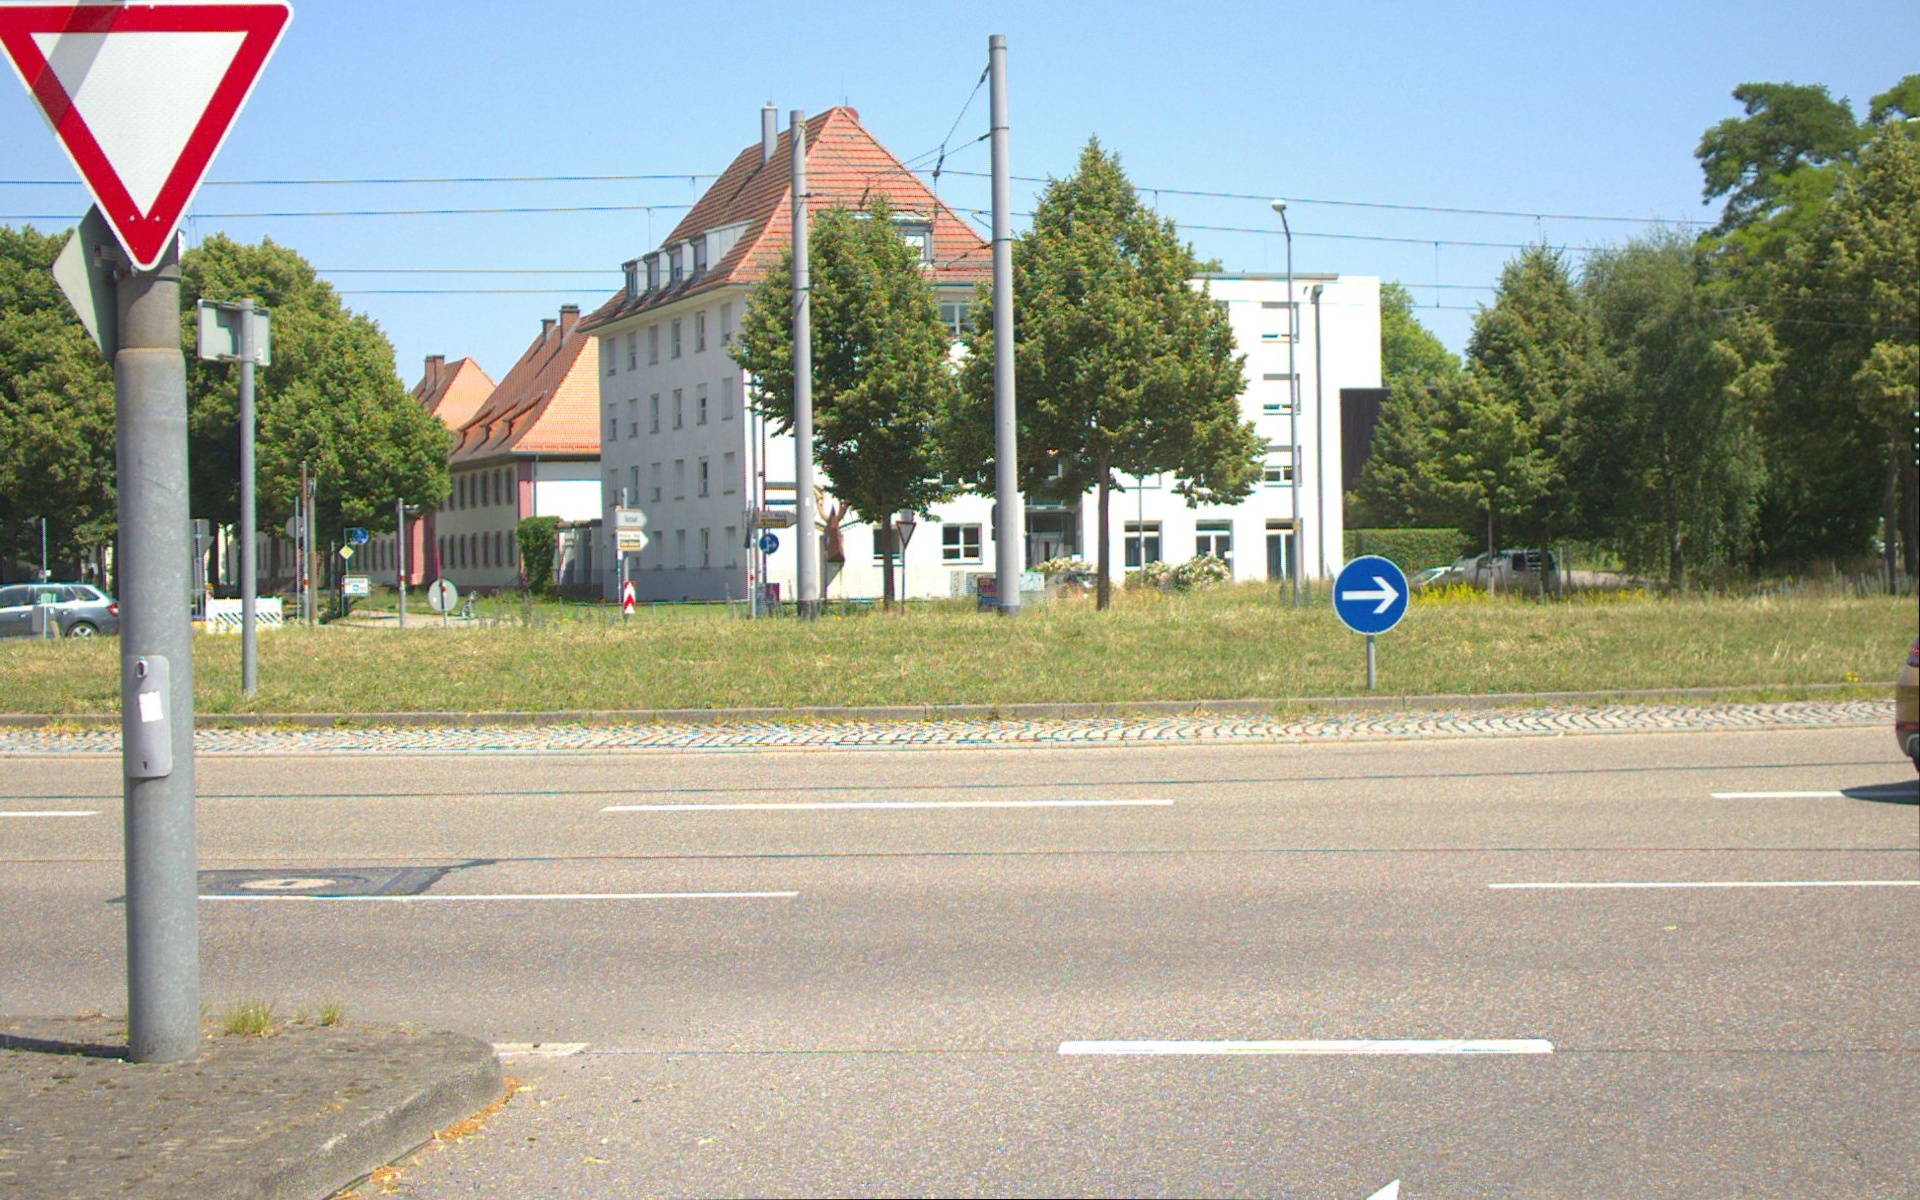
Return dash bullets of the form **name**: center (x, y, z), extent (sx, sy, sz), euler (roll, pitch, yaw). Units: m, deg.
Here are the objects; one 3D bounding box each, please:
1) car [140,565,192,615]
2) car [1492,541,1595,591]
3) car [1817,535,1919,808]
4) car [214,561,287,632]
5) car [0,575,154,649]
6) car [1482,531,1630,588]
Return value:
- **car**: center (-32.305, -0.423, 139.954), extent (1.993, 2.007, 4.001), euler (1, 0, -12)
- **car**: center (24.243, -1.413, 142.779), extent (3.990, 2.007, 1.998), euler (1, 0, 15)
- **car**: center (6.481, 0.352, 18.576), extent (3.651, 1.398, 1.831), euler (-1, 1, -41)
- **car**: center (-20.637, -0.115, 99.914), extent (1.993, 2.007, 4.001), euler (1, 0, -12)
- **car**: center (-18.576, 0.233, 69.938), extent (3.986, 1.459, 2.001), euler (0, 0, -22)
- **car**: center (18.180, -1.236, 104.928), extent (3.986, 1.678, 2.001), euler (1, 0, -12)
